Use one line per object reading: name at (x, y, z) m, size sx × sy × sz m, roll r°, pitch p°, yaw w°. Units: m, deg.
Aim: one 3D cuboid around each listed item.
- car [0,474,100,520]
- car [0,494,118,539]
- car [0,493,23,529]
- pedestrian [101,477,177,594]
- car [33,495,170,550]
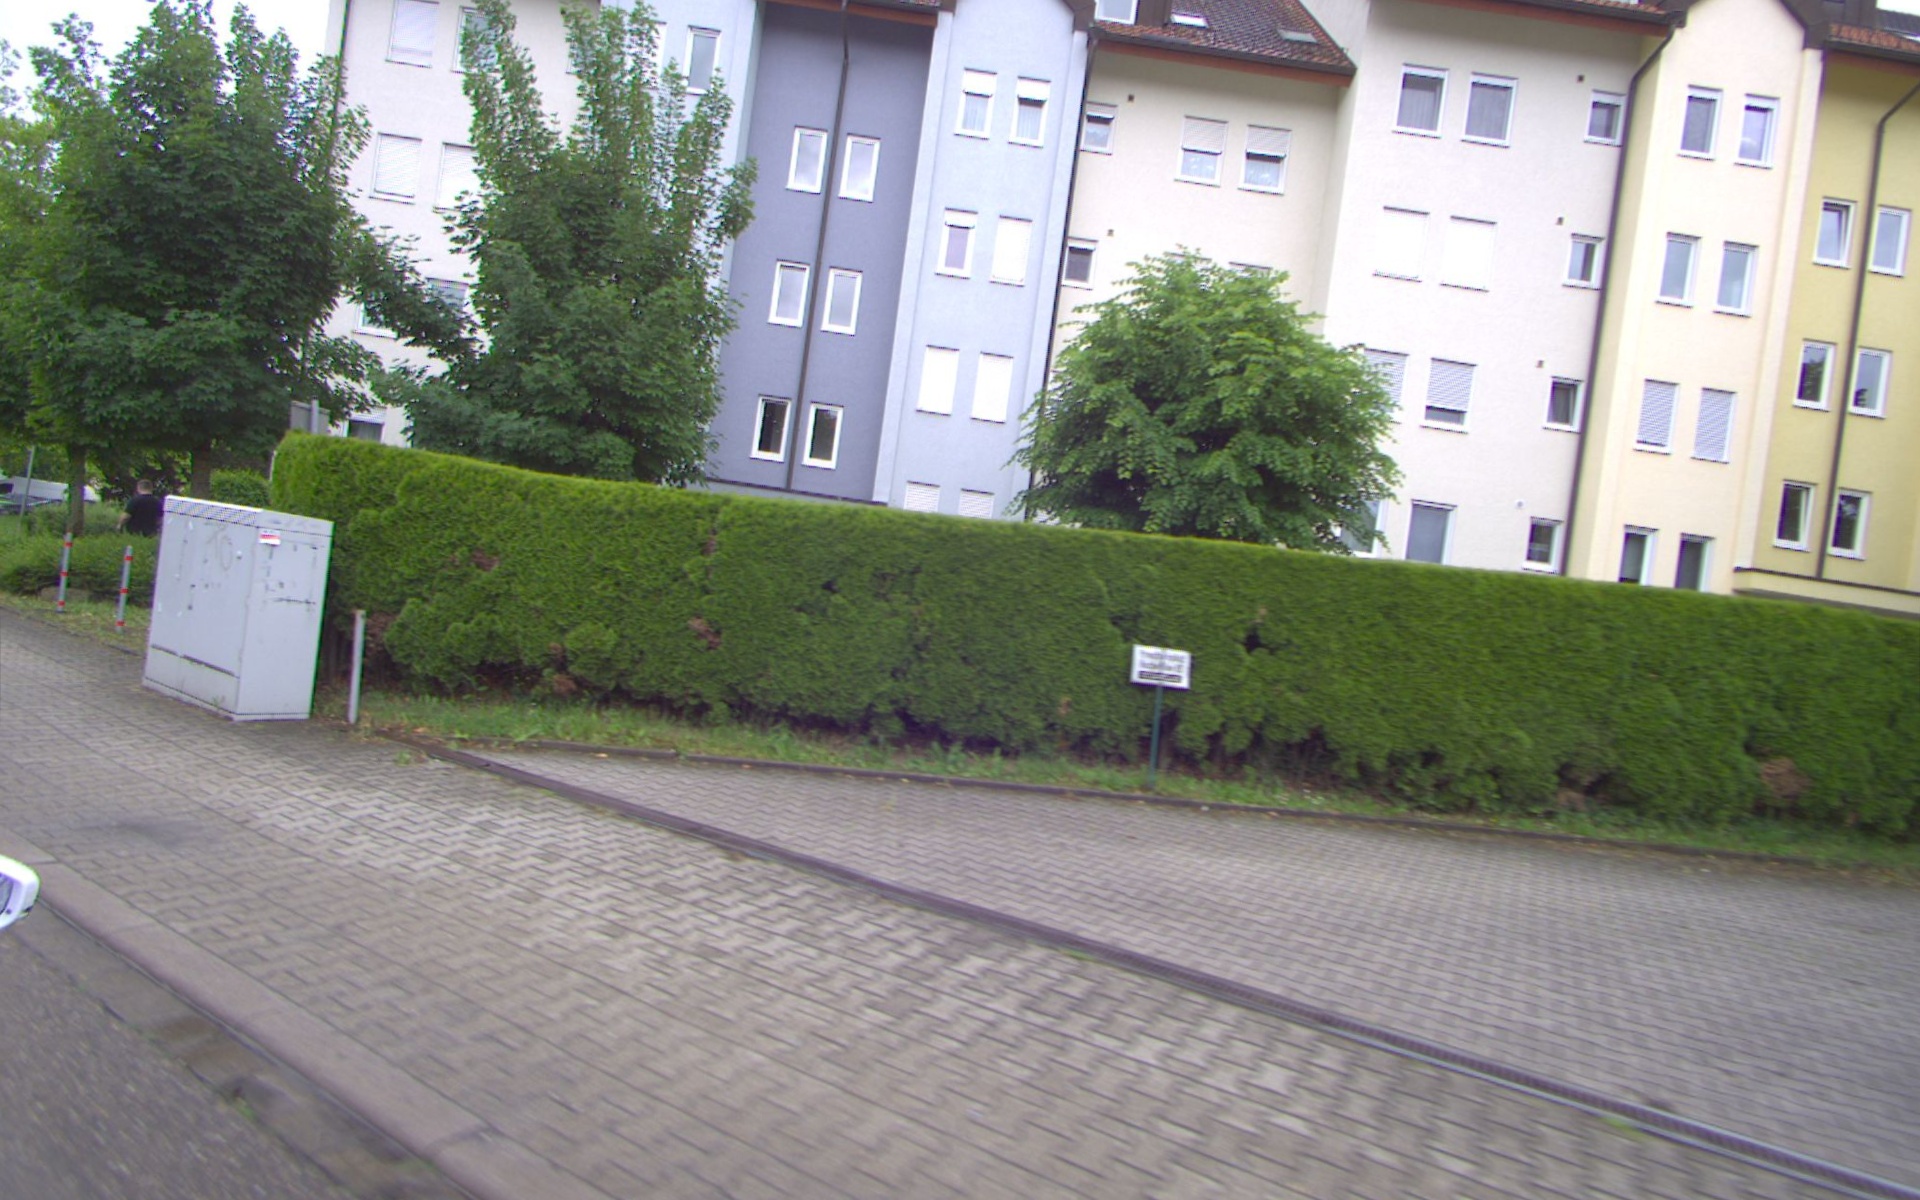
car at (-56.614, -6.360, 61.412) m, size 1.964 × 2.038 × 5.836 m, roll 7°, pitch 0°, yaw 24°
car at (-39.463, -3.642, 43.664) m, size 1.734 × 1.388 × 4.017 m, roll 7°, pitch 0°, yaw 29°
car at (-43.445, -4.130, 43.379) m, size 1.734 × 1.460 × 4.017 m, roll 7°, pitch 0°, yaw 29°
pedestrian at (-13.391, -1.044, 16.417) m, size 0.660 × 1.794 × 0.614 m, roll 7°, pitch 0°, yaw 32°
car at (-36.720, -3.292, 43.087) m, size 1.741 × 1.646 × 4.269 m, roll 7°, pitch 0°, yaw 45°
